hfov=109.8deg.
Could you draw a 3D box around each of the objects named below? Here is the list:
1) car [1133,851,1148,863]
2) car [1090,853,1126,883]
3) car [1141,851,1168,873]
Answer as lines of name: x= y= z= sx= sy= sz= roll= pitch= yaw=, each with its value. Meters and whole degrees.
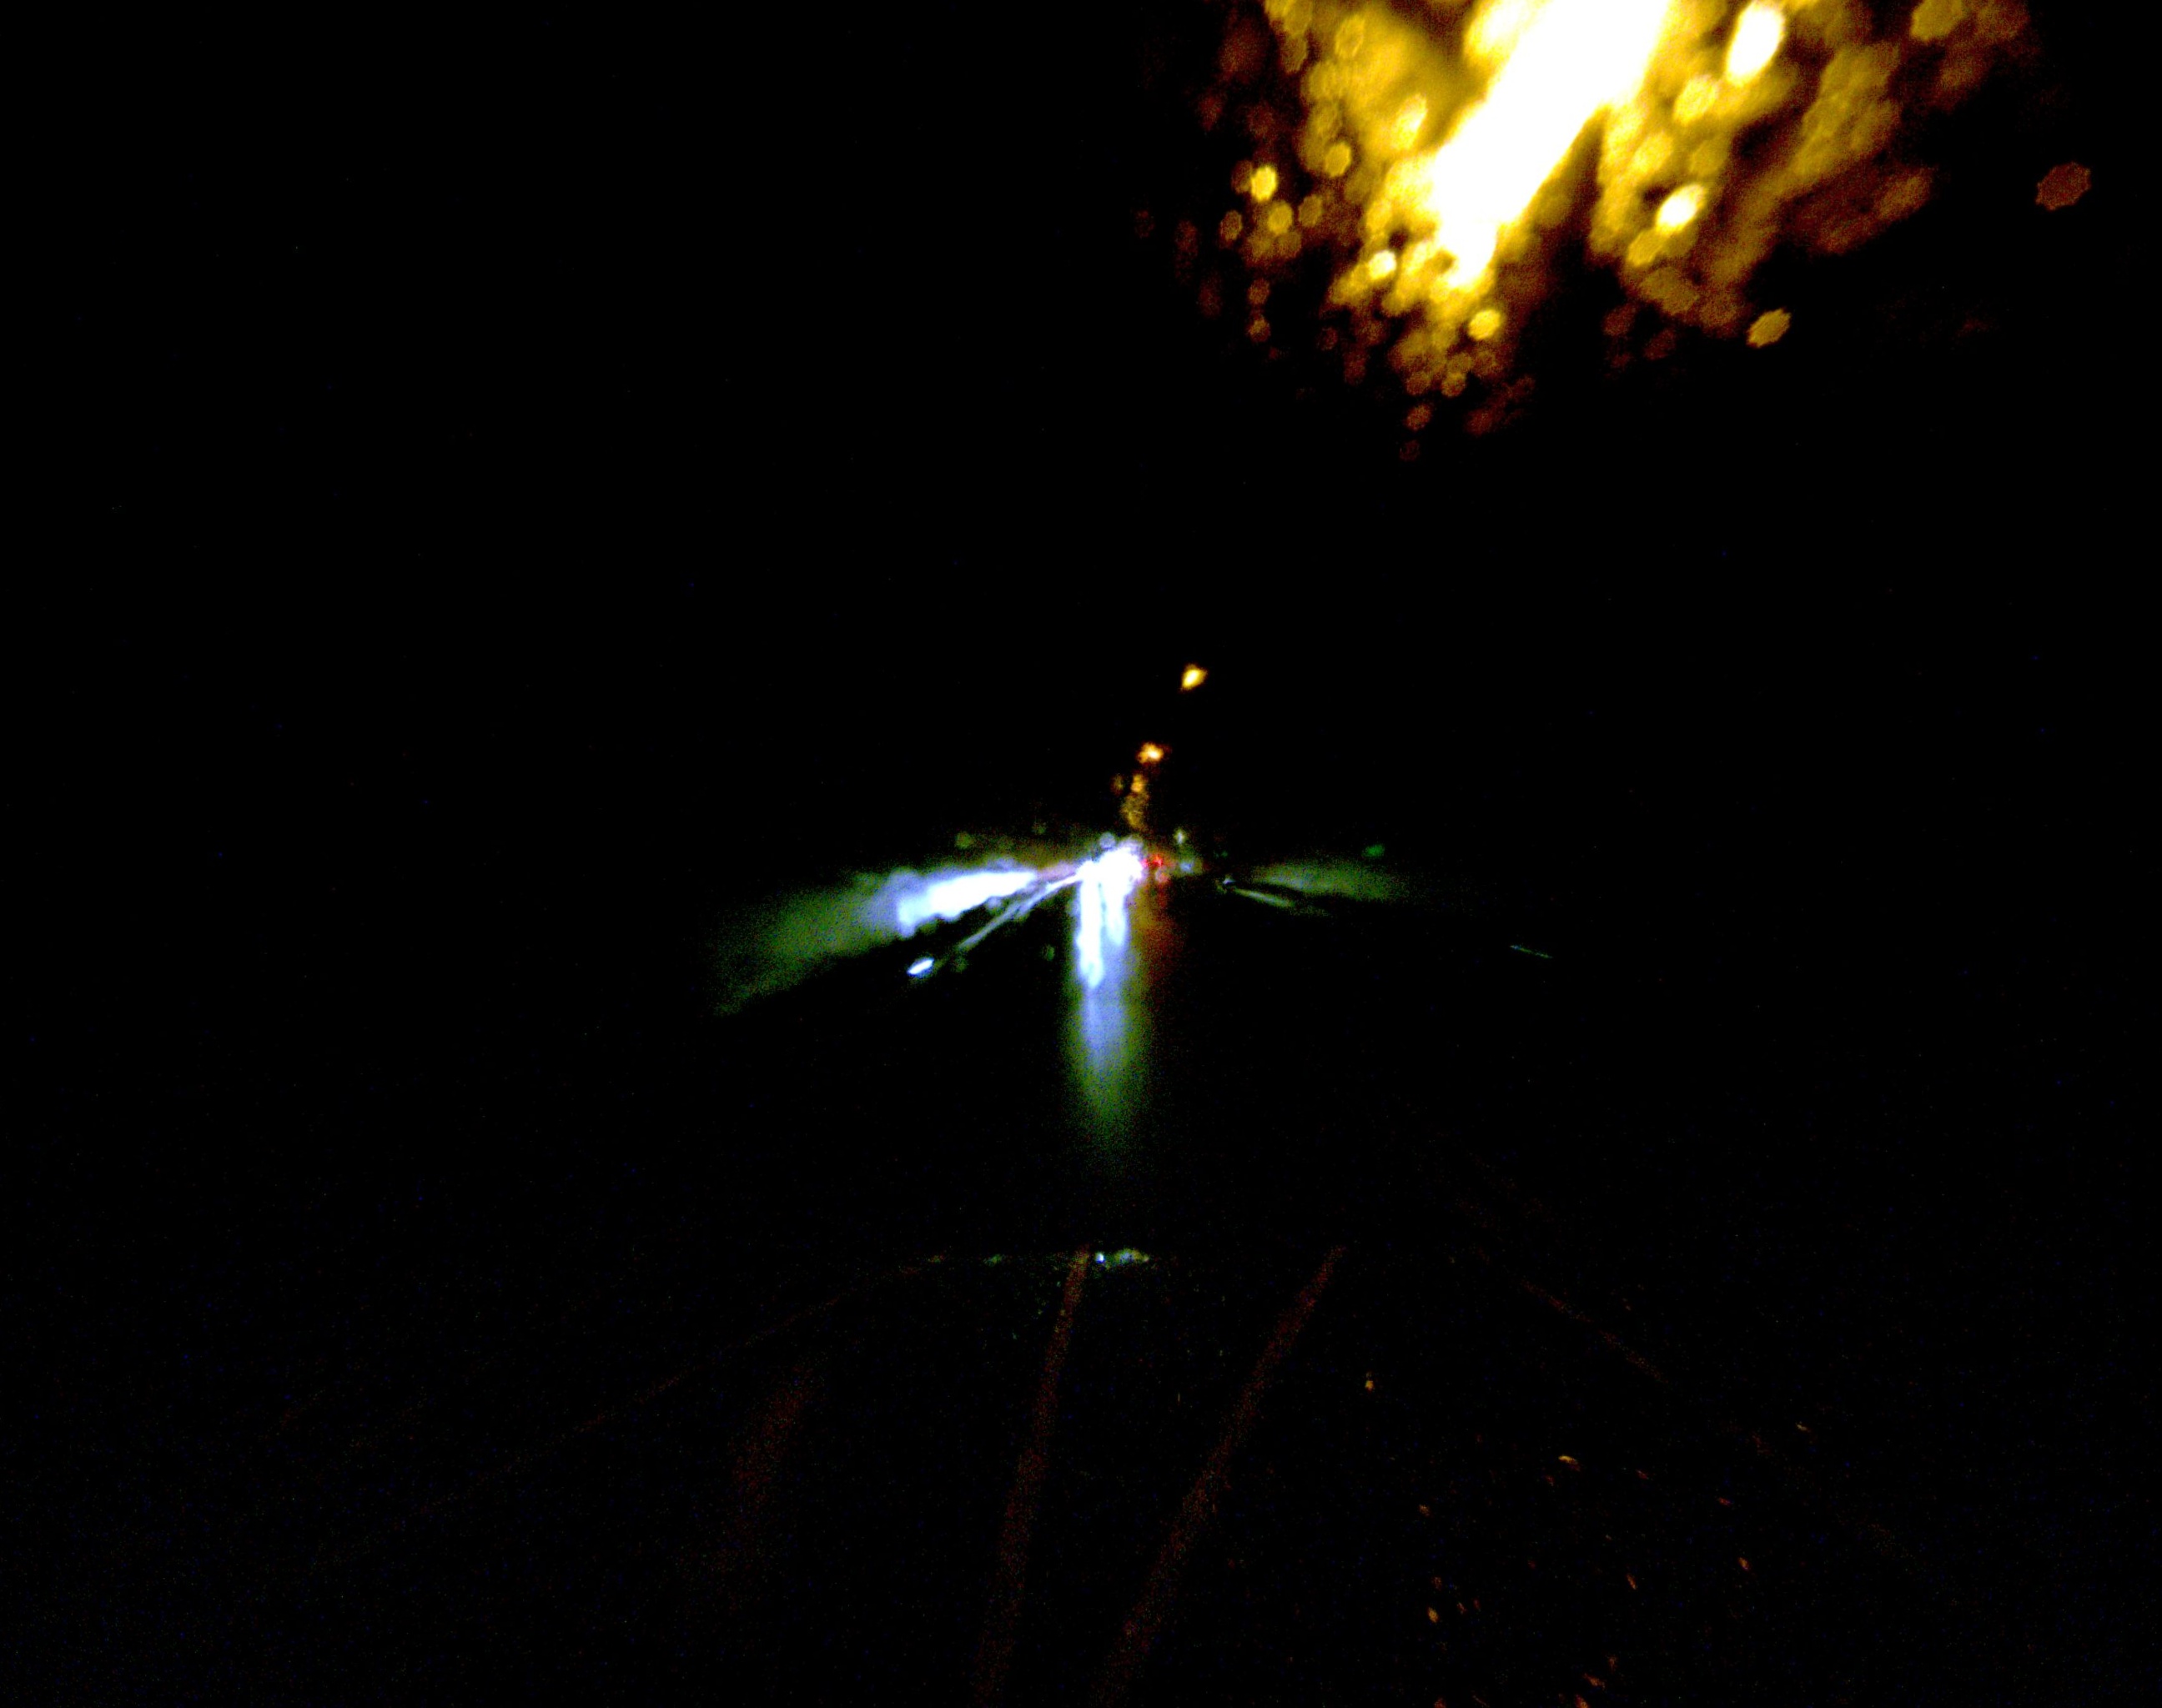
car: x=8.956 y=0.445 z=114.418 sx=1.998 sy=1.576 sz=4.000 roll=-3 pitch=1 yaw=2
car: x=1.658 y=0.820 z=46.785 sx=1.998 sy=1.576 sz=4.000 roll=-3 pitch=1 yaw=2
car: x=5.943 y=0.609 z=61.979 sx=1.998 sy=1.576 sz=4.000 roll=-3 pitch=1 yaw=4
